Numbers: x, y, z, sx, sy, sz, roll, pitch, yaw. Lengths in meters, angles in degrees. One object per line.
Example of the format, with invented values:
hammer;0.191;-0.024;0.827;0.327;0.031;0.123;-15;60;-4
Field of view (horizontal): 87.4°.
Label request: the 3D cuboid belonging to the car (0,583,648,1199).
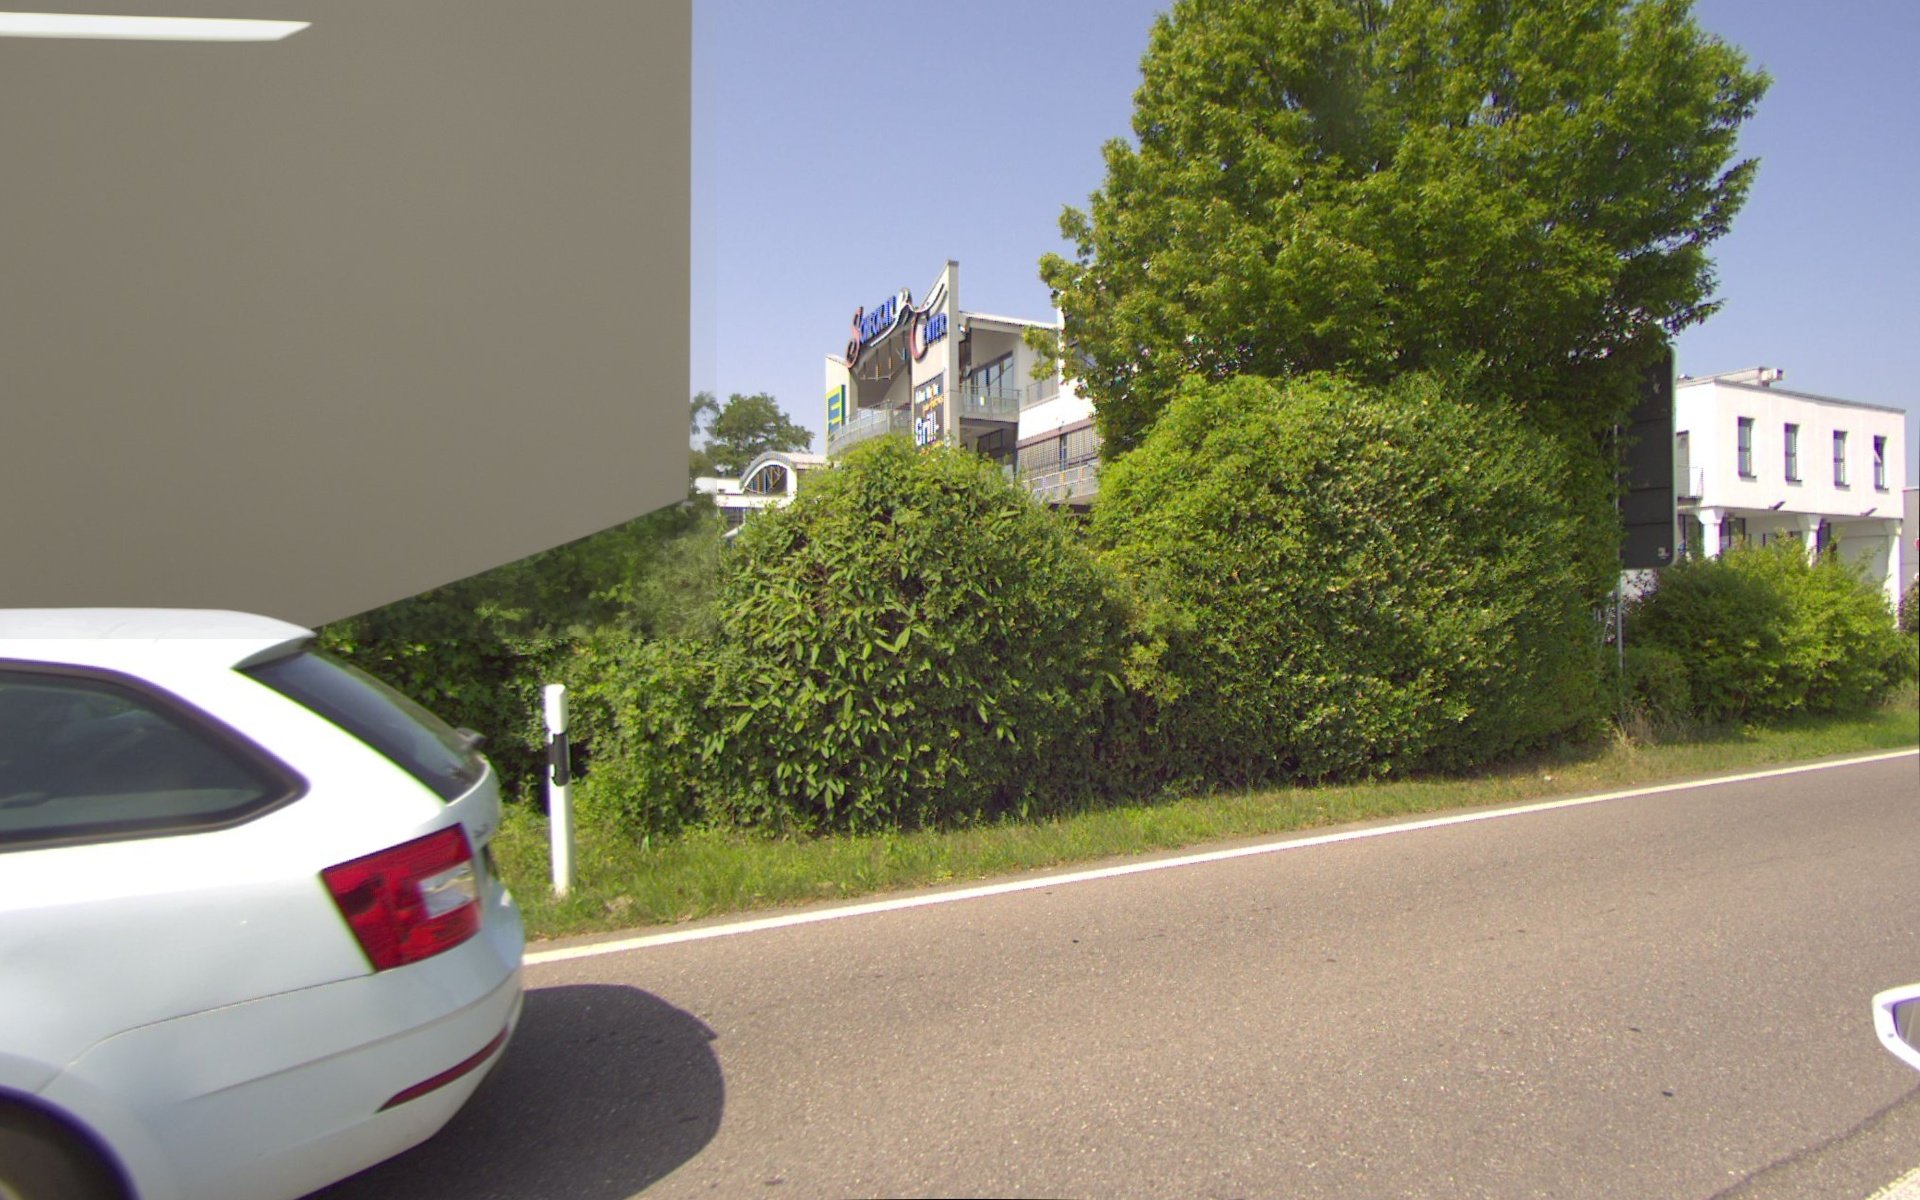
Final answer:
car;-3.028;0.686;1.915;4.358;1.490;1.820;2;0;-30
